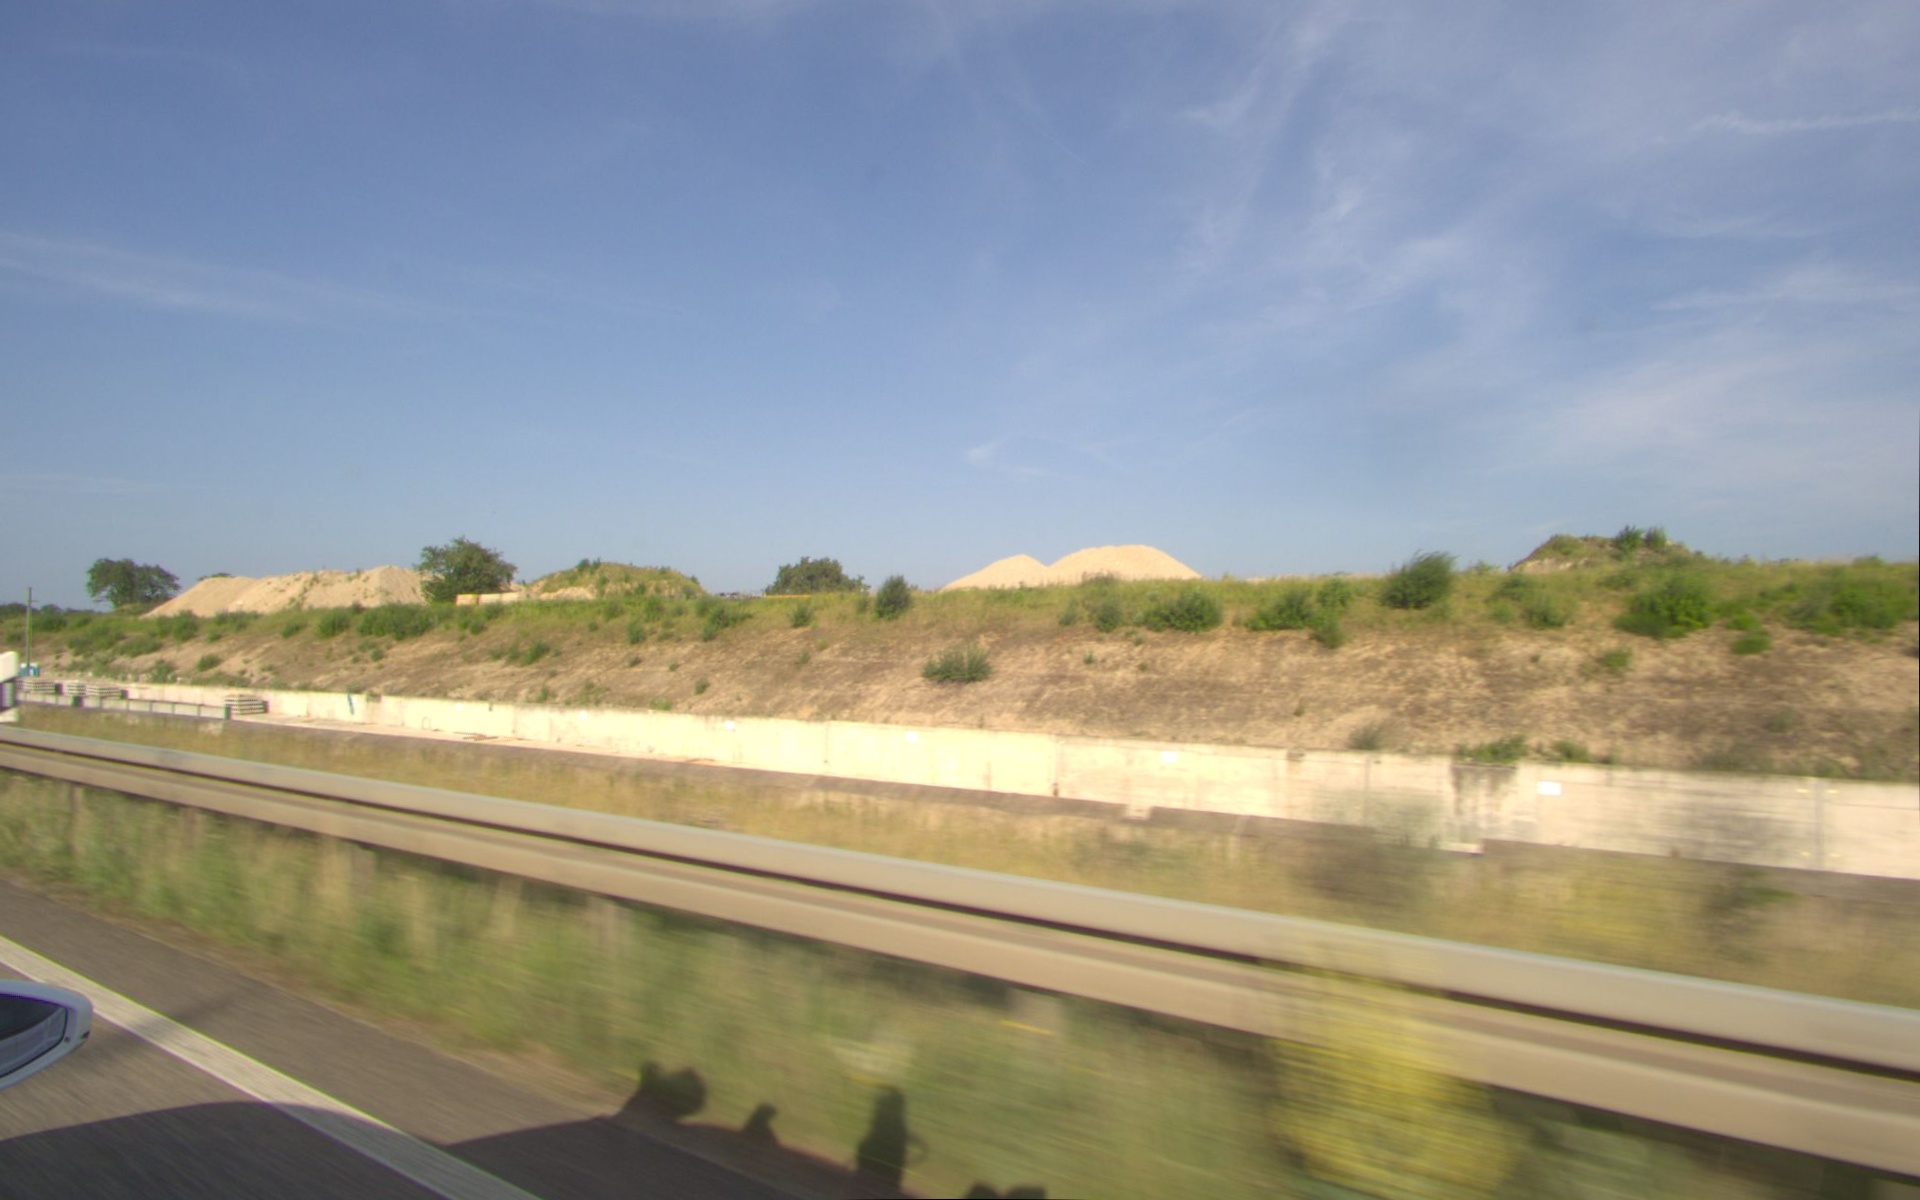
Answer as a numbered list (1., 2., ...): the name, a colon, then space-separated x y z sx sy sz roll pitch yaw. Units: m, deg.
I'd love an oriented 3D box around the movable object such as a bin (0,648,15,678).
1. movable object such as a bin: -87.028 5.666 89.876 2.875 2.695 2.007 1 -1 -34
